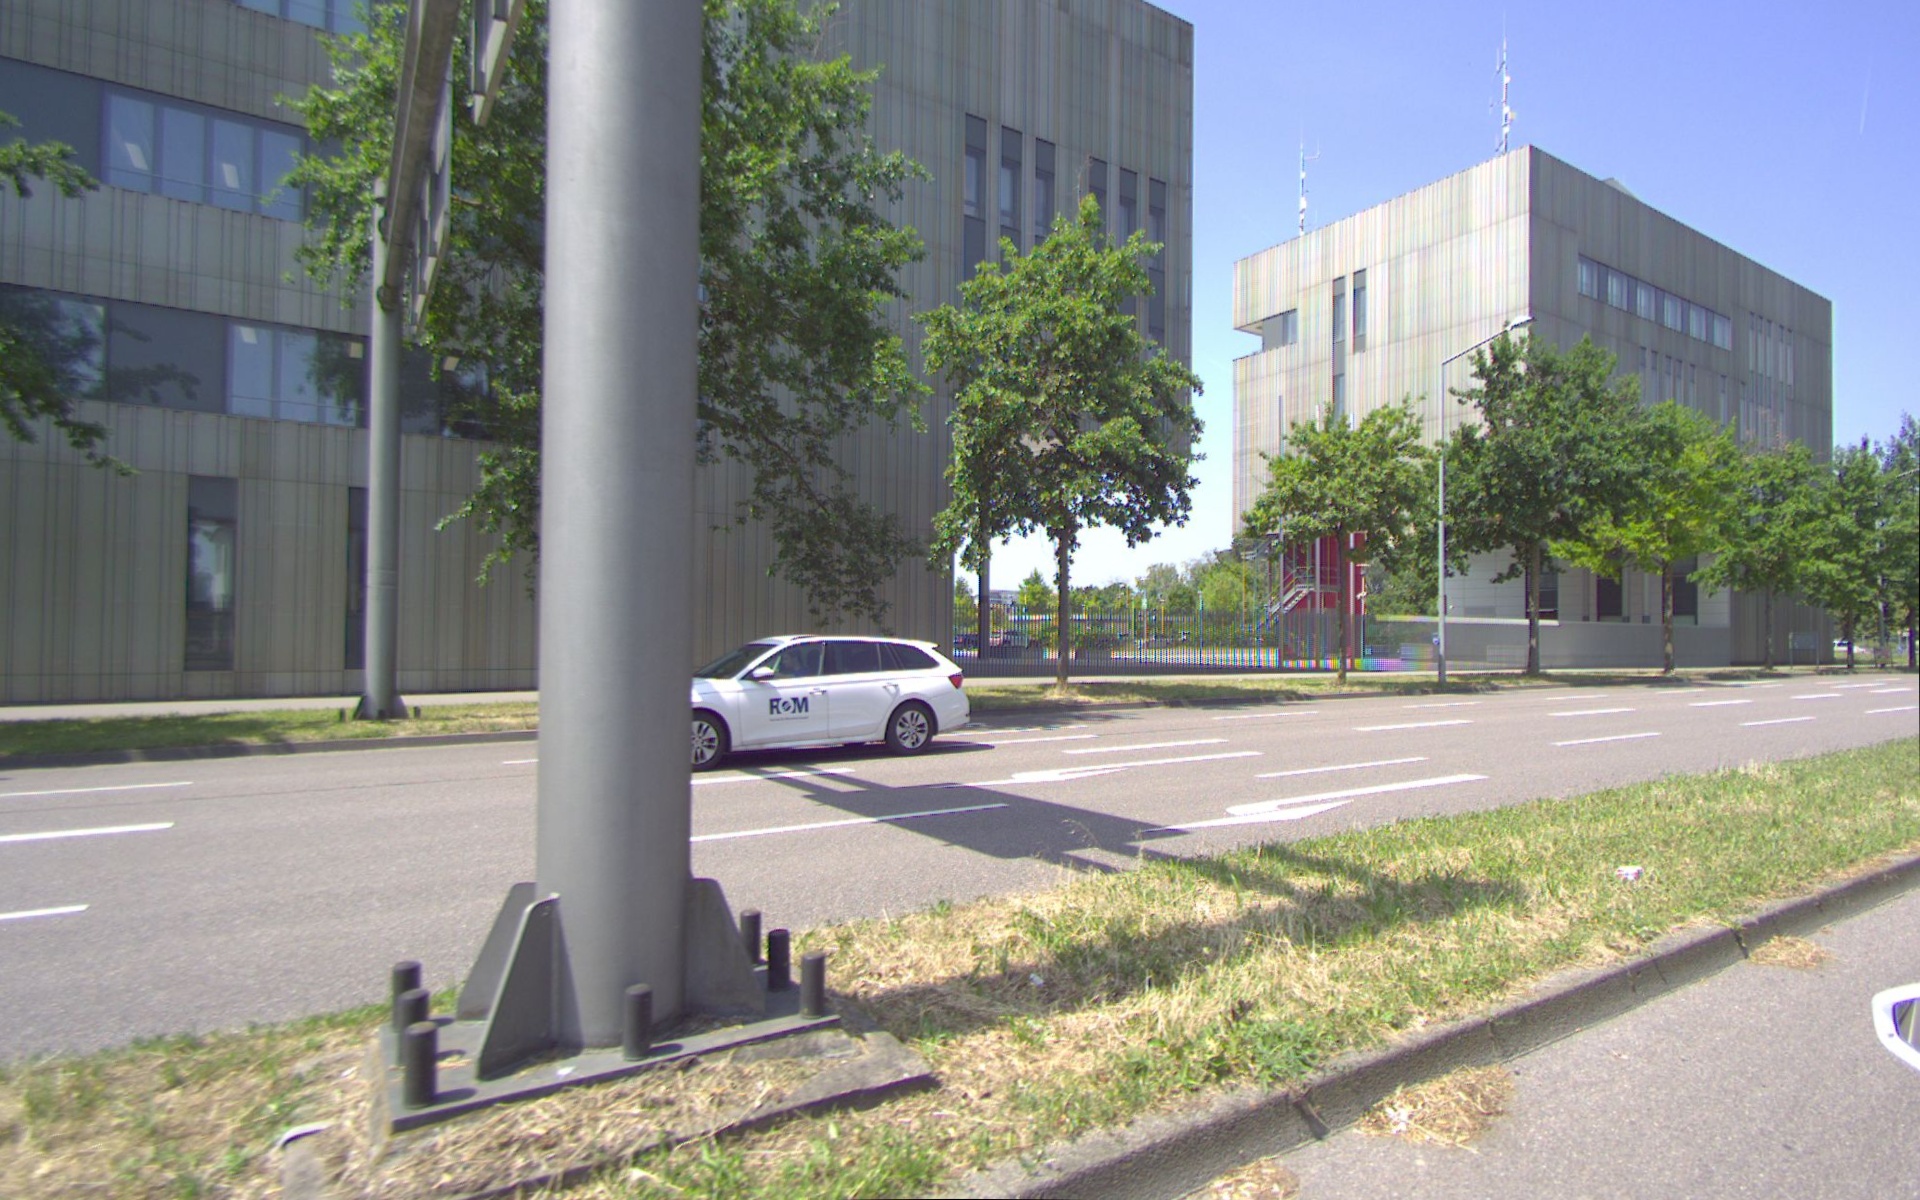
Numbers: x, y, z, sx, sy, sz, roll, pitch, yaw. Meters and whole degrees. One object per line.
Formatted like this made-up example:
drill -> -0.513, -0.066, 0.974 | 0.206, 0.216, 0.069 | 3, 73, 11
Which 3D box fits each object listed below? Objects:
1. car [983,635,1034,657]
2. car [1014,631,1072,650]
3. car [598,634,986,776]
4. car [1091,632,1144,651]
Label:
car -> 3.855, 3.607, 79.003 | 3.732, 1.719, 1.648 | 2, -2, -32
car -> 6.284, 3.073, 76.102 | 3.955, 1.405, 1.983 | 2, -2, -32
car -> -1.955, 1.152, 12.192 | 4.313, 1.446, 1.800 | 1, -3, -33
car -> 14.076, 3.704, 89.526 | 4.471, 1.602, 2.013 | 1, -1, -31
